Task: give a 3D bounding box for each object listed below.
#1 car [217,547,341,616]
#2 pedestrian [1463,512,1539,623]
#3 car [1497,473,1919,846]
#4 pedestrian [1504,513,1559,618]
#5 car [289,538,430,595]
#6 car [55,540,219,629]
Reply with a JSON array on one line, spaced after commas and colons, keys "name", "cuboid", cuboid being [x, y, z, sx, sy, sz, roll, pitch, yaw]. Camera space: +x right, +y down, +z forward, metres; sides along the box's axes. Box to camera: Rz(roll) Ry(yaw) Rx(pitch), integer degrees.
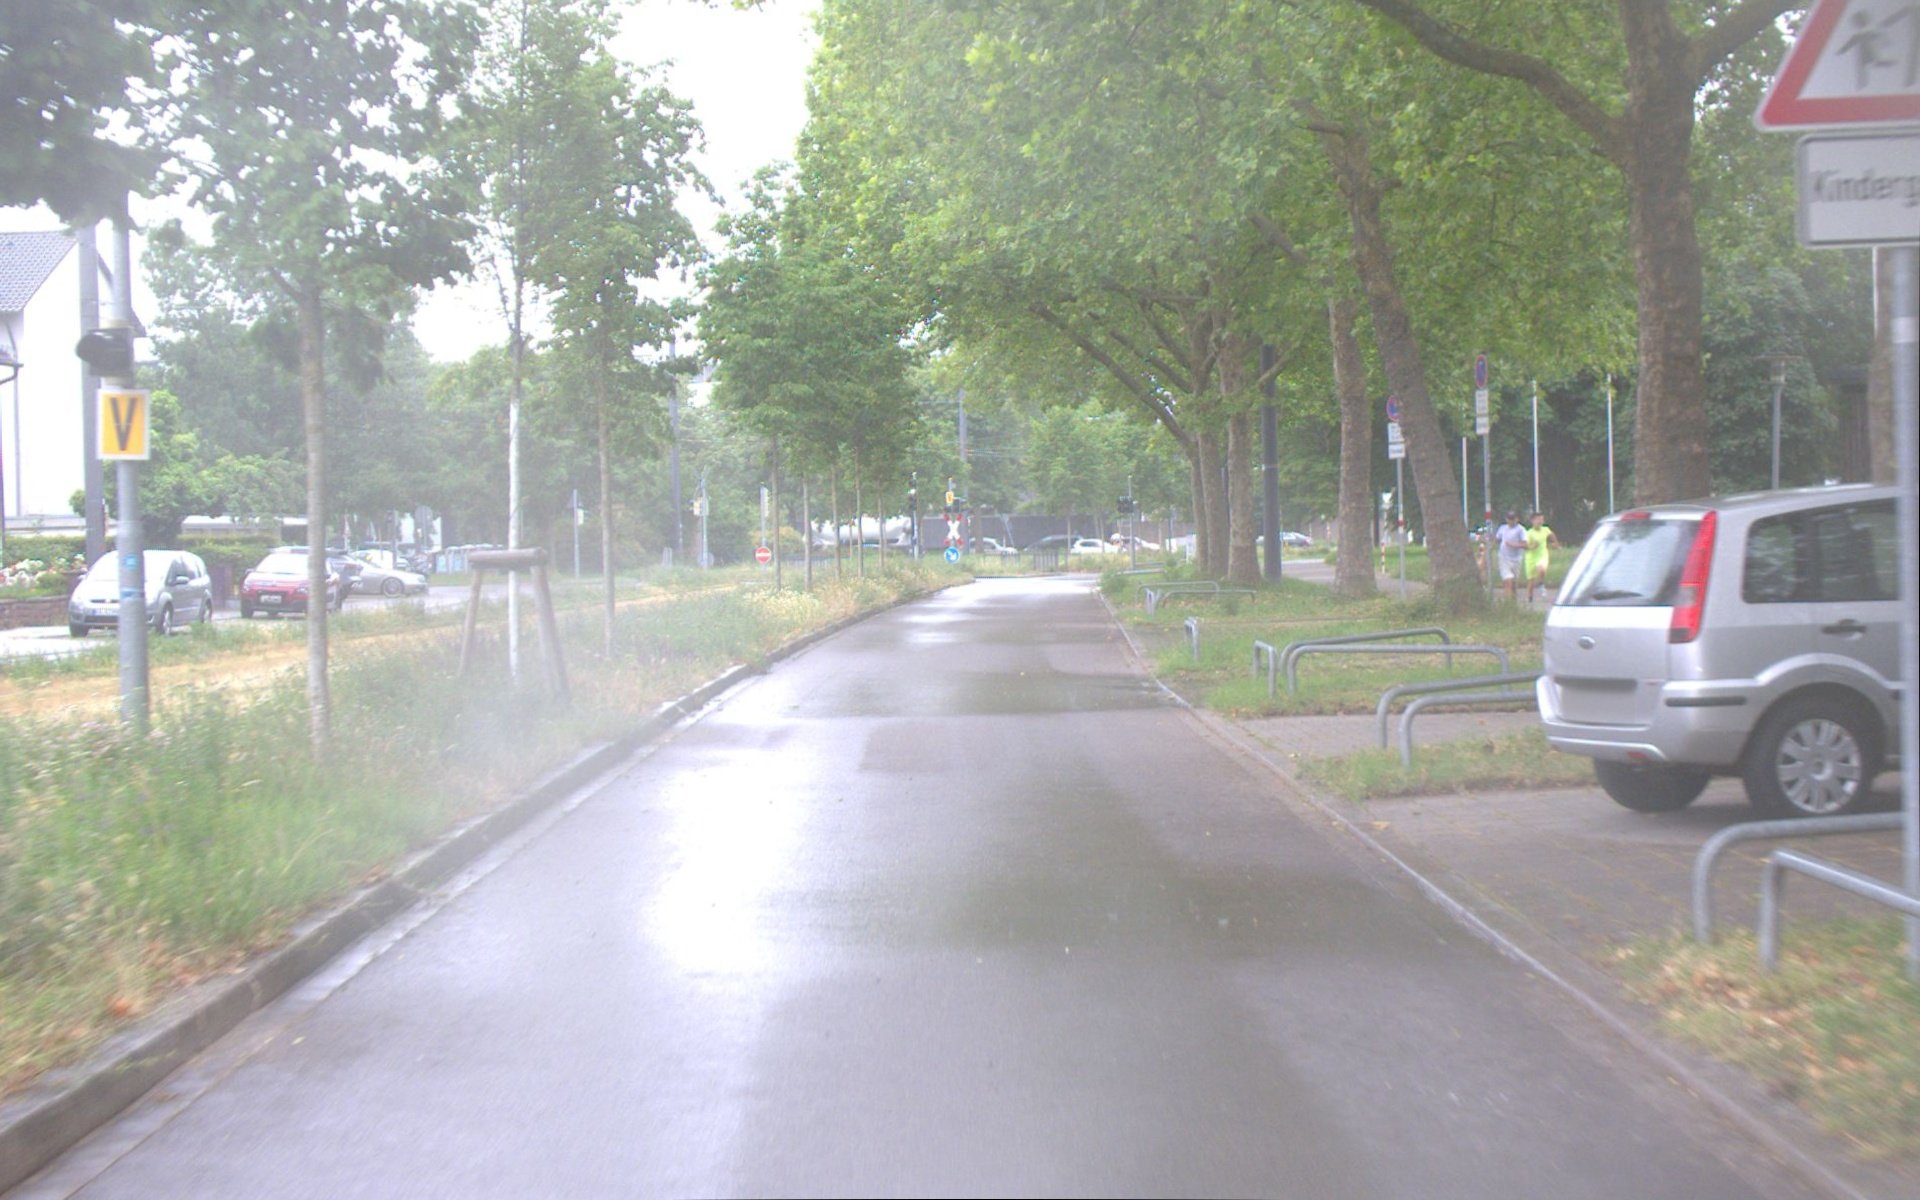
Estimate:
[{"name": "car", "cuboid": [-15.742, -0.453, 79.698, 1.993, 1.483, 4.206, 0, 2, 1]}, {"name": "pedestrian", "cuboid": [7.672, -0.462, 48.794, 0.833, 1.533, 0.860, -3, 1, -4]}, {"name": "car", "cuboid": [4.697, 0.176, 16.301, 3.854, 1.561, 1.620, -3, 2, -14]}, {"name": "pedestrian", "cuboid": [8.499, -0.517, 51.123, 0.556, 1.533, 0.967, -2, 1, -4]}, {"name": "car", "cuboid": [-18.568, -1.043, 106.462, 3.987, 1.611, 2.000, -2, 1, -1]}, {"name": "car", "cuboid": [-15.688, -0.331, 65.752, 1.993, 1.575, 4.517, 0, 2, 1]}]
